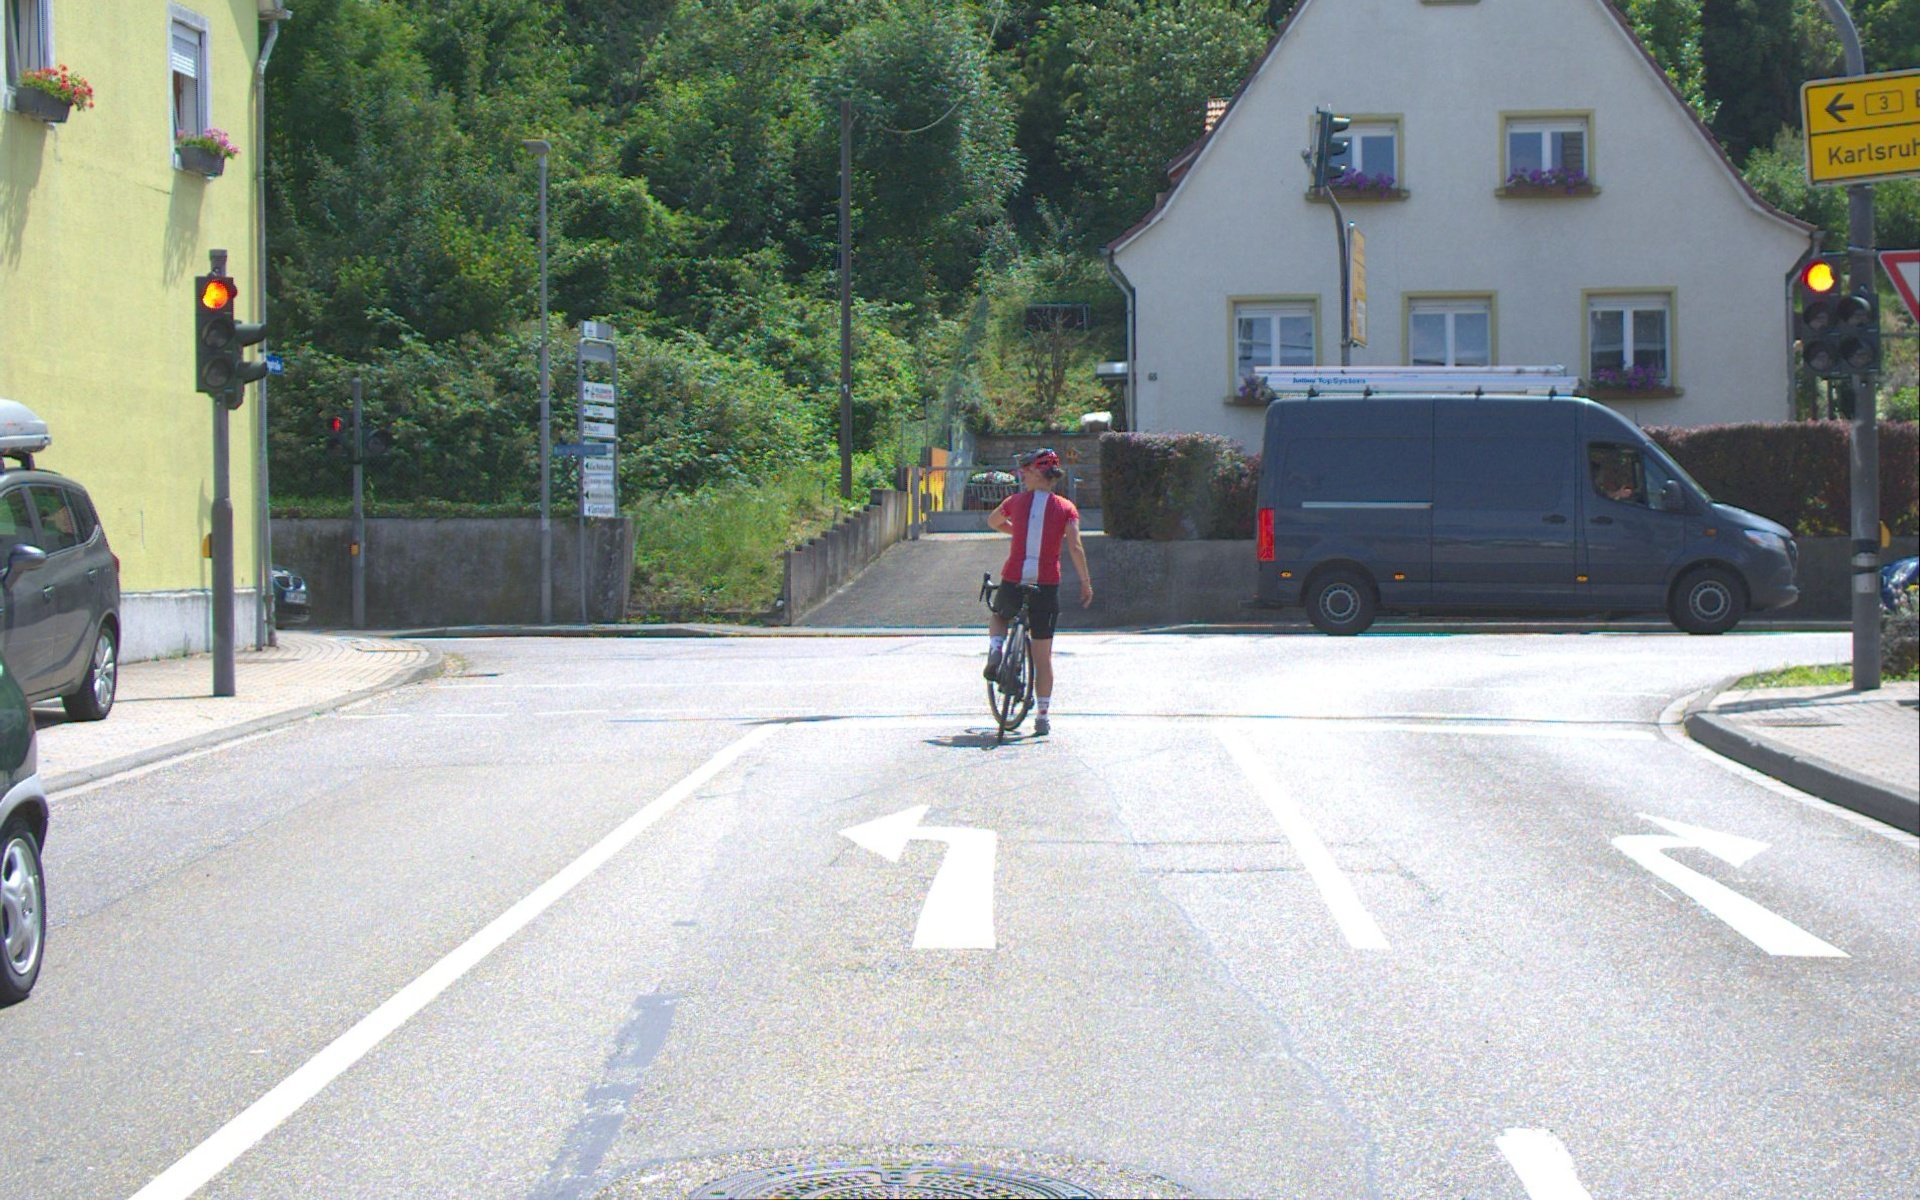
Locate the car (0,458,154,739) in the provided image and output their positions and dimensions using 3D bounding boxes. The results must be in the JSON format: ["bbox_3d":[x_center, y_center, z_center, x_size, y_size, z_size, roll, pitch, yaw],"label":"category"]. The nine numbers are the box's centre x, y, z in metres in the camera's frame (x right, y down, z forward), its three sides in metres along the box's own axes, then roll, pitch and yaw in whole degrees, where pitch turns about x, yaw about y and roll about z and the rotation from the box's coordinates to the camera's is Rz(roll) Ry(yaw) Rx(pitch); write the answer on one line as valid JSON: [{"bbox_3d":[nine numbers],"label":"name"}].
[{"bbox_3d":[-6.527,-0.057,21.002,1.993,1.630,4.630,1,2,1],"label":"car"}]

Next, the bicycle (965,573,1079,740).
[{"bbox_3d":[0.371,0.313,20.314,0.630,0.902,1.657,1,2,1],"label":"bicycle"}]

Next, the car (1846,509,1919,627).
[{"bbox_3d":[12.553,-0.354,41.044,3.609,1.358,1.644,1,-1,6],"label":"car"}]

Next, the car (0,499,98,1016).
[{"bbox_3d":[-3.583,0.486,8.569,1.780,1.428,3.872,-2,2,1],"label":"car"}]

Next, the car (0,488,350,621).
[{"bbox_3d":[-9.743,-0.537,40.495,4.657,1.437,1.869,-1,1,9],"label":"car"}]

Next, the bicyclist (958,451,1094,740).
[{"bbox_3d":[0.392,-0.036,20.285,0.761,1.659,0.869,1,1,1],"label":"bicyclist"}]

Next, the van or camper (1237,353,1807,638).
[{"bbox_3d":[6.128,-1.134,37.747,5.995,2.994,2.218,0,1,10],"label":"van or camper"}]
